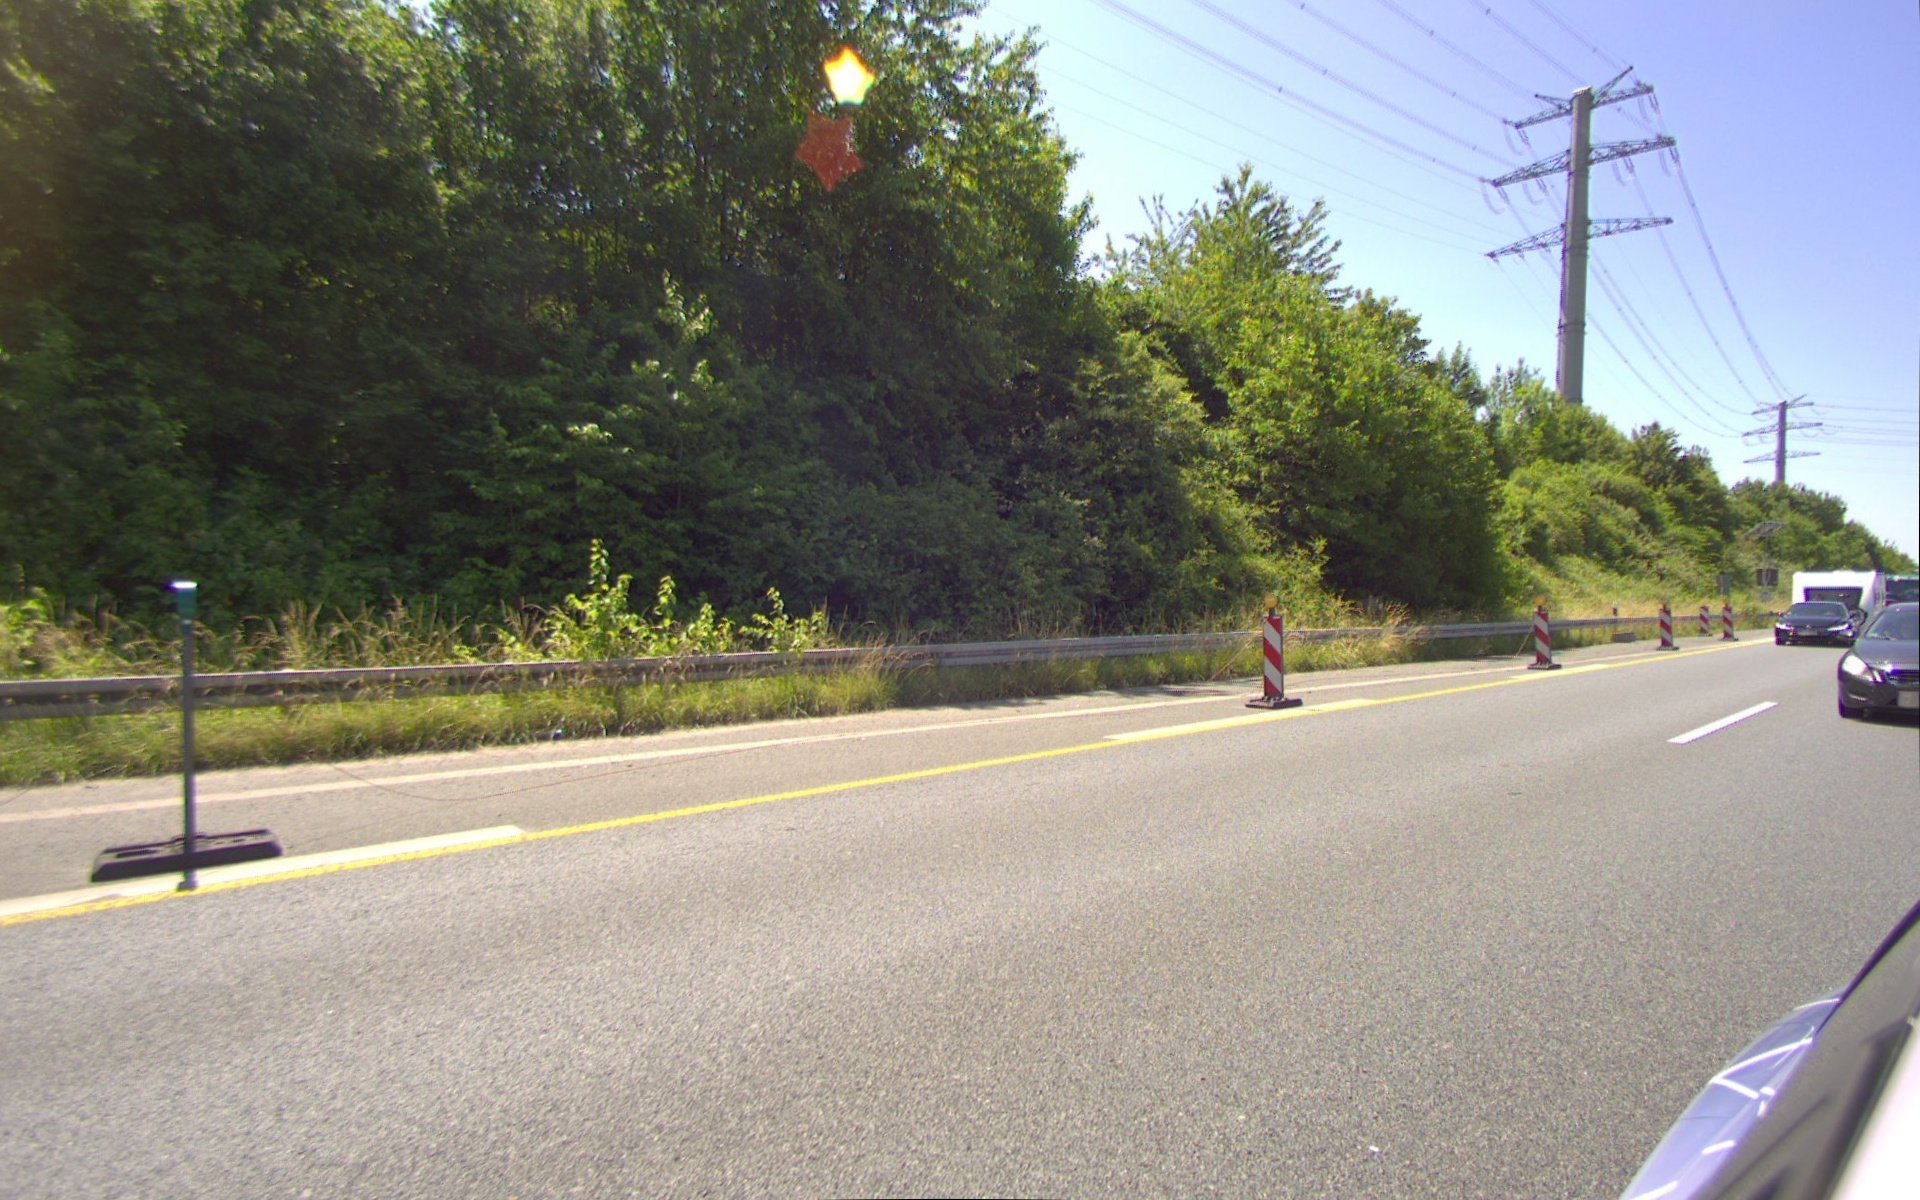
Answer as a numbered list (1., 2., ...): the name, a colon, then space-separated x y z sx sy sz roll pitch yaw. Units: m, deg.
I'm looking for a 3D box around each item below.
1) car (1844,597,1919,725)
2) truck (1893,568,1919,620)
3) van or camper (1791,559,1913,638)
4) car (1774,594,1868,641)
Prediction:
1. car: 12.601 0.693 12.719 3.931 1.459 1.797 0 0 -42
2. truck: 61.786 -0.366 64.500 7.512 3.181 2.429 0 -2 -40
3. van or camper: 32.571 -0.077 36.830 8.273 2.597 2.429 0 0 -42
4. car: 27.868 0.521 32.716 4.137 1.425 1.798 0 0 -42
